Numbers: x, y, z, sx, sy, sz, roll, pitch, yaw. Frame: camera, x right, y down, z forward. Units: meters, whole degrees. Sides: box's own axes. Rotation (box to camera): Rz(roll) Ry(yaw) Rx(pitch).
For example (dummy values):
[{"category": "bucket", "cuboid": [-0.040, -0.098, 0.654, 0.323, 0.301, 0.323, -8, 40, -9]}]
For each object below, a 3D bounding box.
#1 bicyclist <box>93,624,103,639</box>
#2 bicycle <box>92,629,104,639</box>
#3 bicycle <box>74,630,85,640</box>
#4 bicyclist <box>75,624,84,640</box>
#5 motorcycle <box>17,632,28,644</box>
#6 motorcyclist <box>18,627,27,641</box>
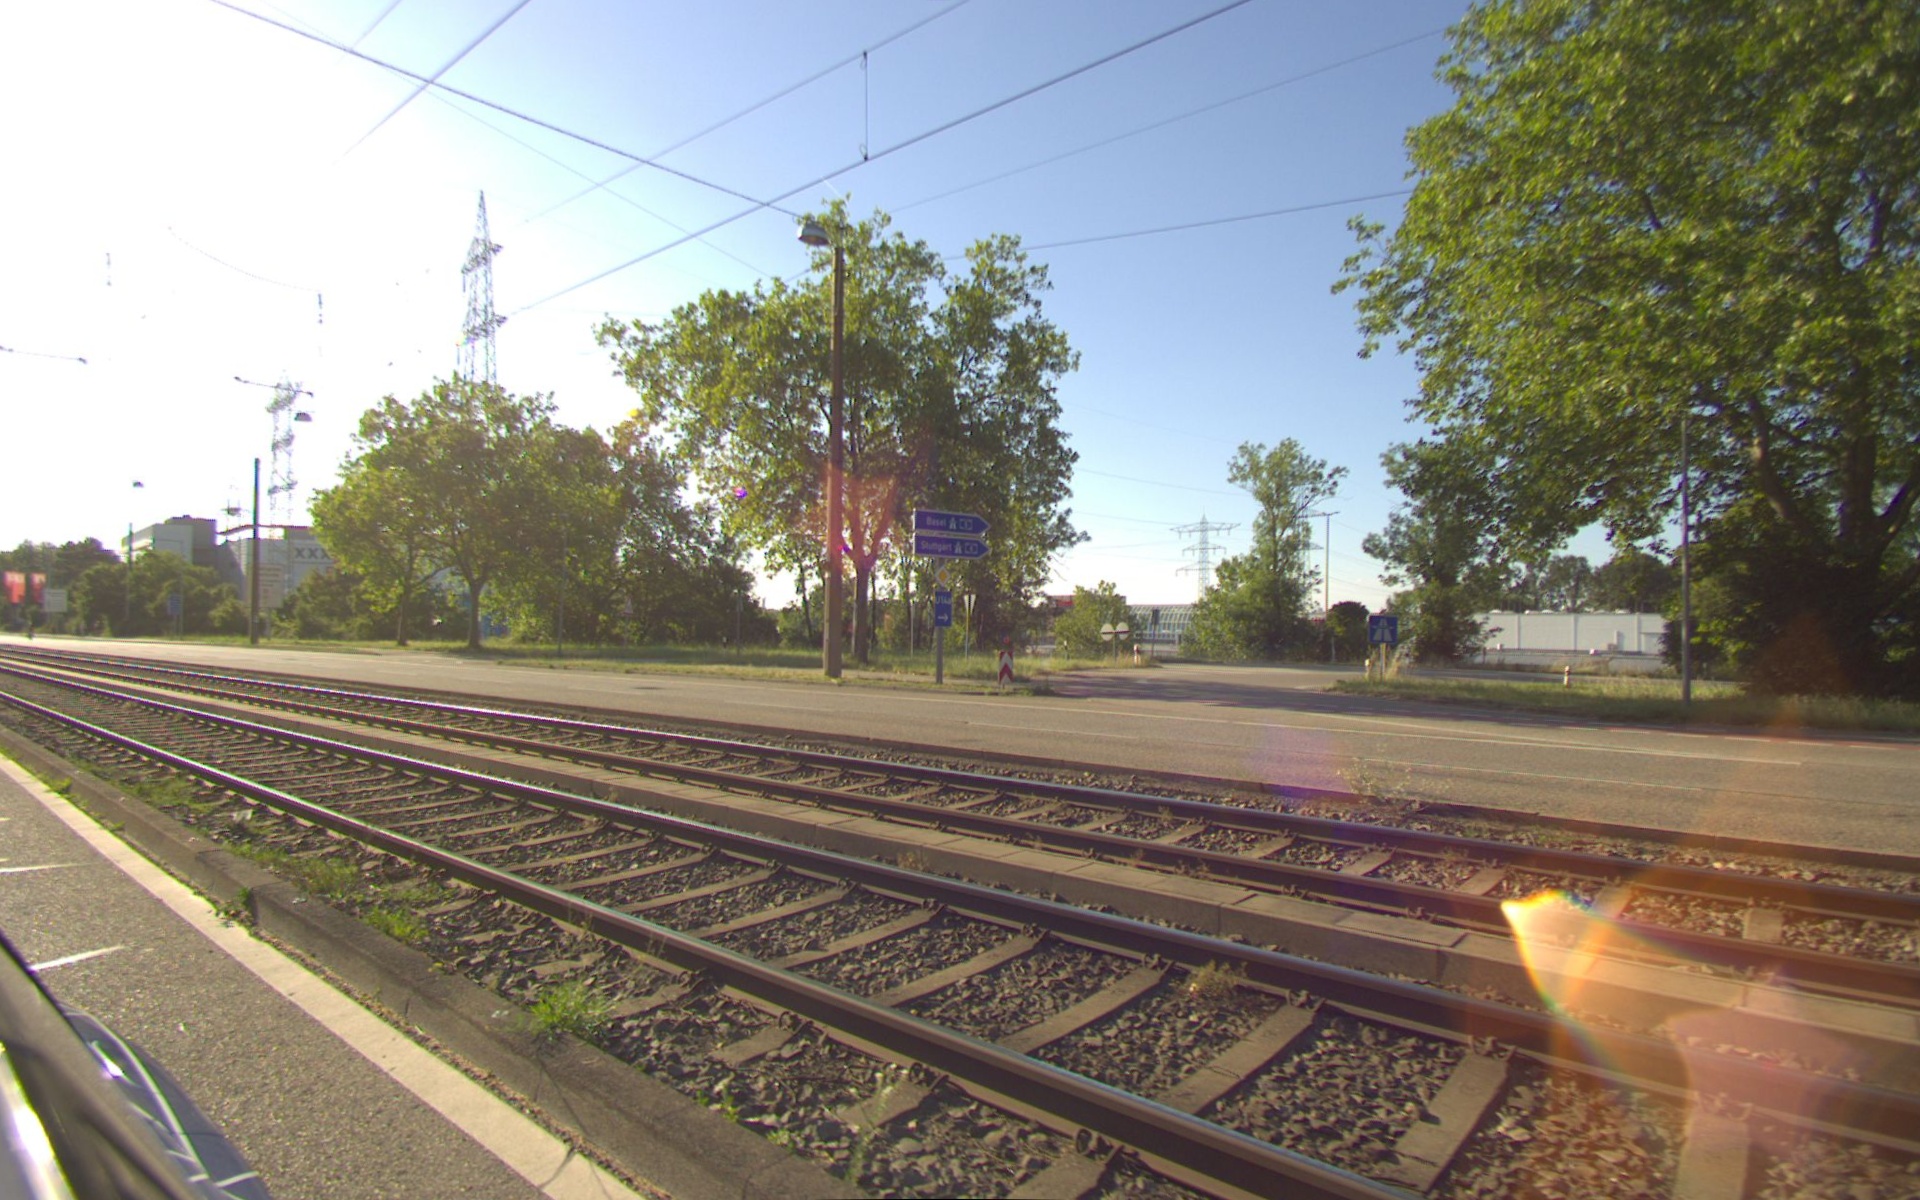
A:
[{"category": "bicyclist", "cuboid": [-89.407, 3.219, 104.943, 0.905, 1.540, 0.584, -1, -2, 40]}, {"category": "bicycle", "cuboid": [-89.476, 3.510, 104.996, 2.184, 1.029, 0.584, -1, -2, 41]}, {"category": "bicycle", "cuboid": [-90.300, 3.586, 103.775, 2.184, 1.029, 0.584, -1, -2, 41]}, {"category": "bicyclist", "cuboid": [-90.280, 3.282, 103.752, 0.966, 1.623, 0.584, -1, -2, 40]}, {"category": "motorcycle", "cuboid": [-89.447, 3.614, 96.576, 1.901, 1.099, 0.530, -1, 0, 41]}, {"category": "motorcyclist", "cuboid": [-89.427, 3.218, 96.551, 0.804, 1.280, 0.530, -1, 0, 41]}]
